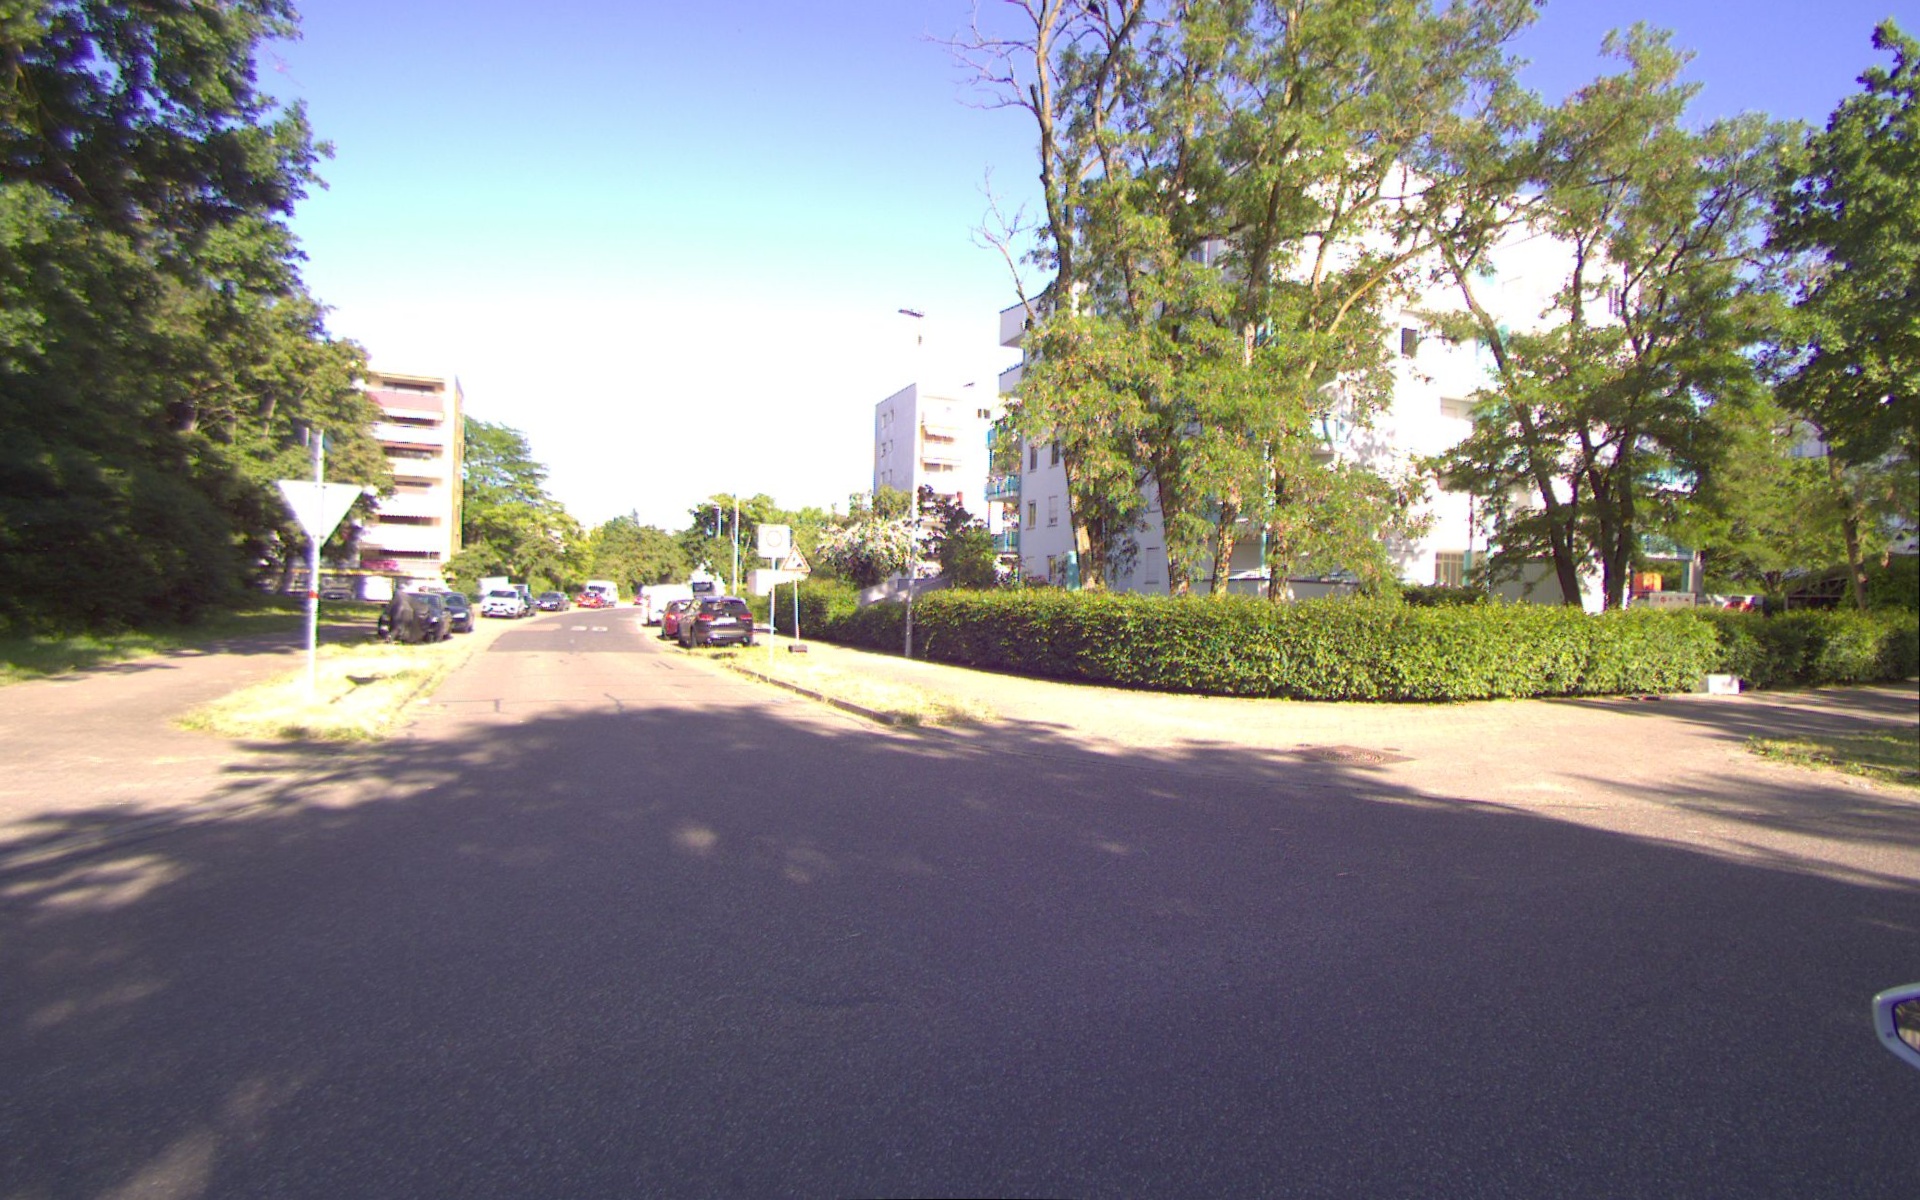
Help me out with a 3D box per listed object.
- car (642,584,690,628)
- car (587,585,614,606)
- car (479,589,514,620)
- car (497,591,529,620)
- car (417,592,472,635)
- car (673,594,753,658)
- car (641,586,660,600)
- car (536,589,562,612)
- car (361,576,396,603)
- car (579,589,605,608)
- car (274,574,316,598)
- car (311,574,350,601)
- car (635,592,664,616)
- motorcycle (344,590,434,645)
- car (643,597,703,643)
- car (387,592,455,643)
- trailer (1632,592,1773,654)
[{"bbox_3d":[-14.762,0.293,50.344,1.803,2.088,3.813,1,0,-24],"label":"car"},{"bbox_3d":[-34.570,-0.476,96.749,1.950,1.925,3.989,2,0,-13],"label":"car"},{"bbox_3d":[-25.112,0.212,54.523,1.623,1.578,3.813,1,0,-24],"label":"car"},{"bbox_3d":[-26.625,0.299,59.849,1.623,1.578,3.813,1,0,-24],"label":"car"},{"bbox_3d":[-18.572,0.455,36.289,1.538,1.410,3.567,1,0,-24],"label":"car"},{"bbox_3d":[-7.664,0.751,30.937,1.732,1.808,3.813,1,0,-24],"label":"car"},{"bbox_3d":[-38.782,-0.828,125.983,1.860,1.662,3.991,2,0,-12],"label":"car"},{"bbox_3d":[-30.215,0.050,73.753,1.623,1.578,3.813,1,0,-24],"label":"car"},{"bbox_3d":[-41.277,-0.746,71.369,1.738,1.767,3.813,1,0,-24],"label":"car"},{"bbox_3d":[-33.560,-0.160,91.699,1.796,1.617,3.989,2,0,-13],"label":"car"},{"bbox_3d":[-45.793,-0.978,69.242,1.775,1.547,3.813,1,0,-24],"label":"car"},{"bbox_3d":[-44.125,-0.881,70.460,1.738,1.767,3.813,1,0,-24],"label":"car"},{"bbox_3d":[-20.177,0.229,65.242,1.499,1.486,3.056,1,0,-23],"label":"car"},{"bbox_3d":[-14.957,0.451,26.347,0.664,1.362,1.955,2,0,34],"label":"motorcycle"},{"bbox_3d":[-10.675,0.714,37.228,1.615,1.531,3.813,1,0,-24],"label":"car"},{"bbox_3d":[-16.355,0.508,30.585,1.538,1.410,3.567,1,0,-24],"label":"car"},{"bbox_3d":[26.013,0.809,35.207,4.365,2.070,1.972,1,0,-22],"label":"trailer"}]
